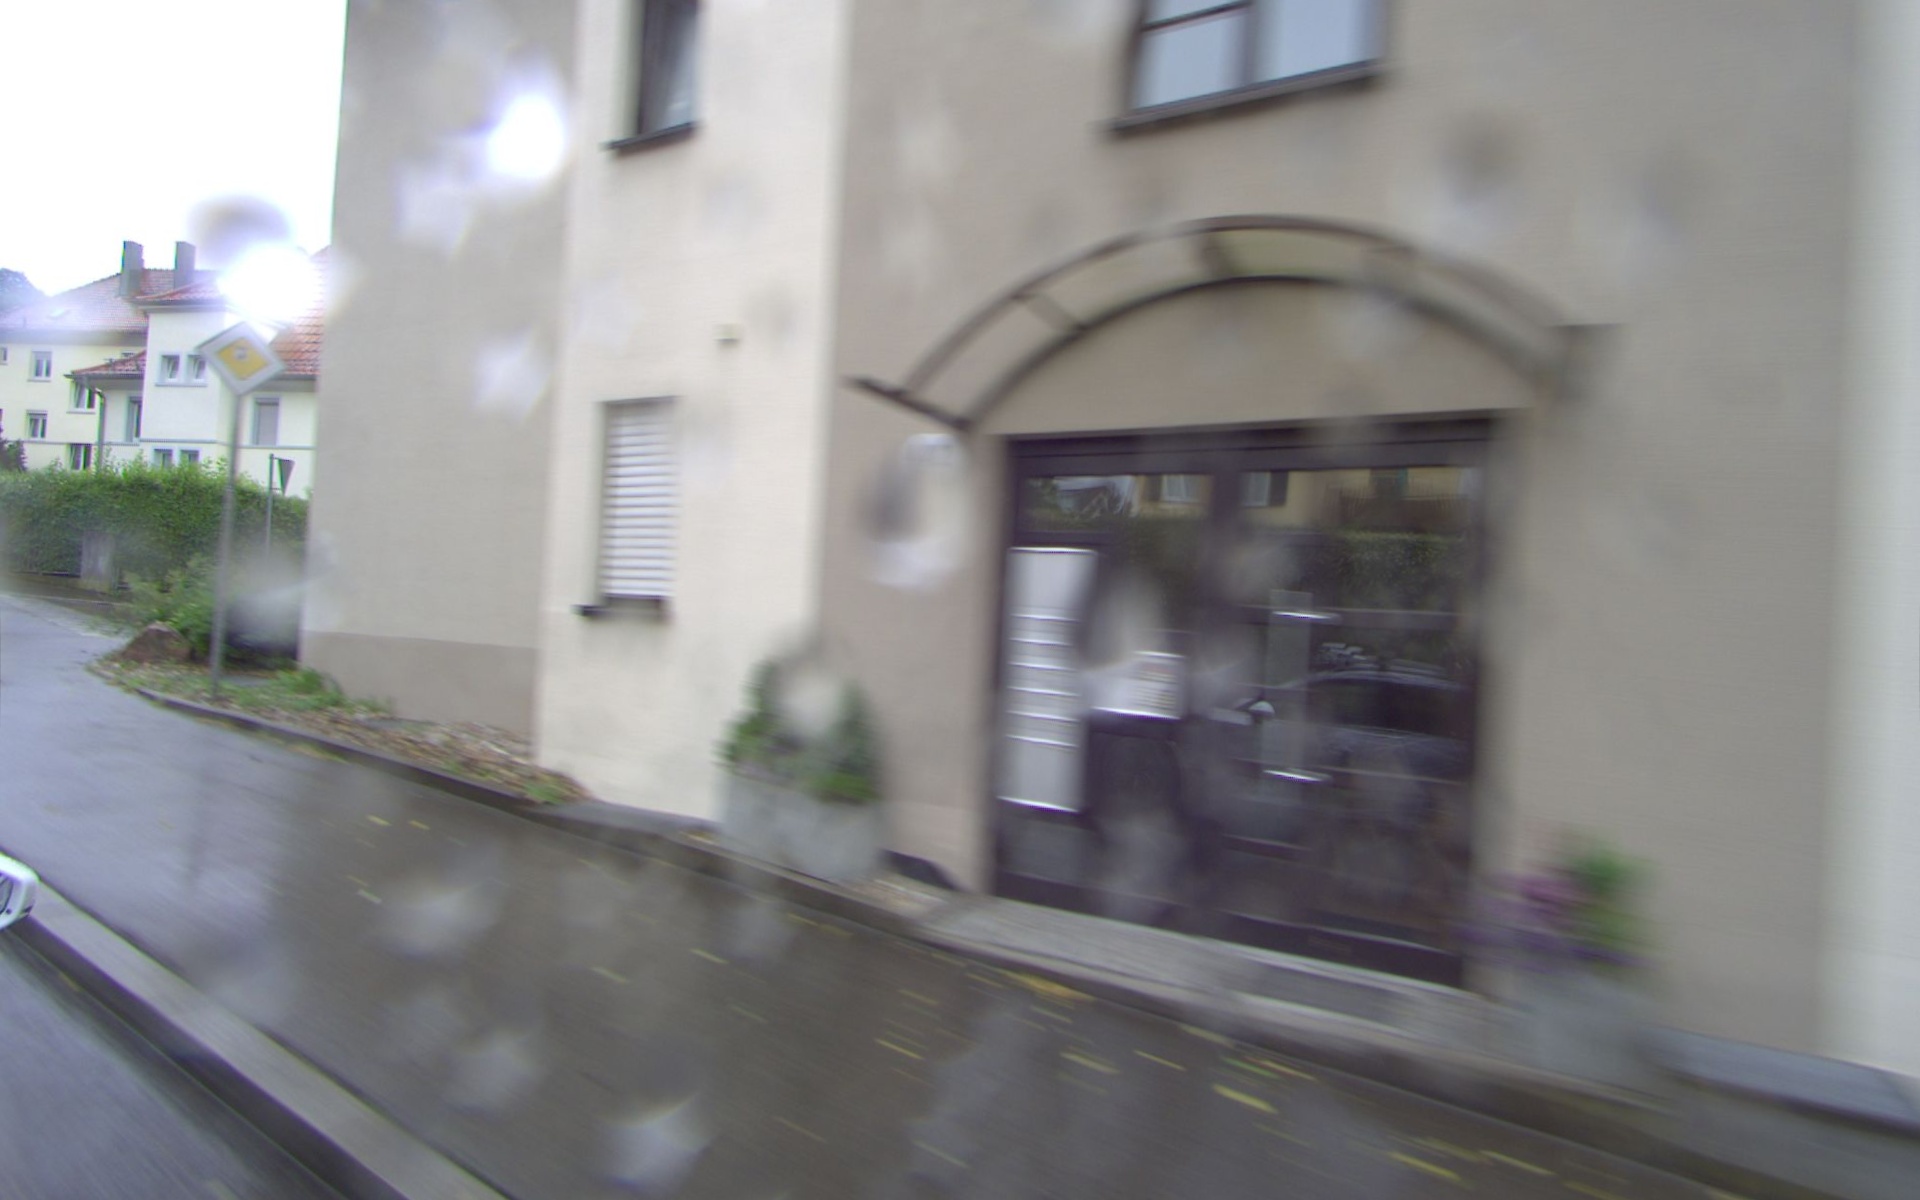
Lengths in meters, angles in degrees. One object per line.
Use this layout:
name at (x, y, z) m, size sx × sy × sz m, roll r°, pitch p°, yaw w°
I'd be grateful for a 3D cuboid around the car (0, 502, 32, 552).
car at (-38.861, -3.109, 38.750) m, size 1.963 × 1.791 × 4.006 m, roll 5°, pitch -4°, yaw 19°
